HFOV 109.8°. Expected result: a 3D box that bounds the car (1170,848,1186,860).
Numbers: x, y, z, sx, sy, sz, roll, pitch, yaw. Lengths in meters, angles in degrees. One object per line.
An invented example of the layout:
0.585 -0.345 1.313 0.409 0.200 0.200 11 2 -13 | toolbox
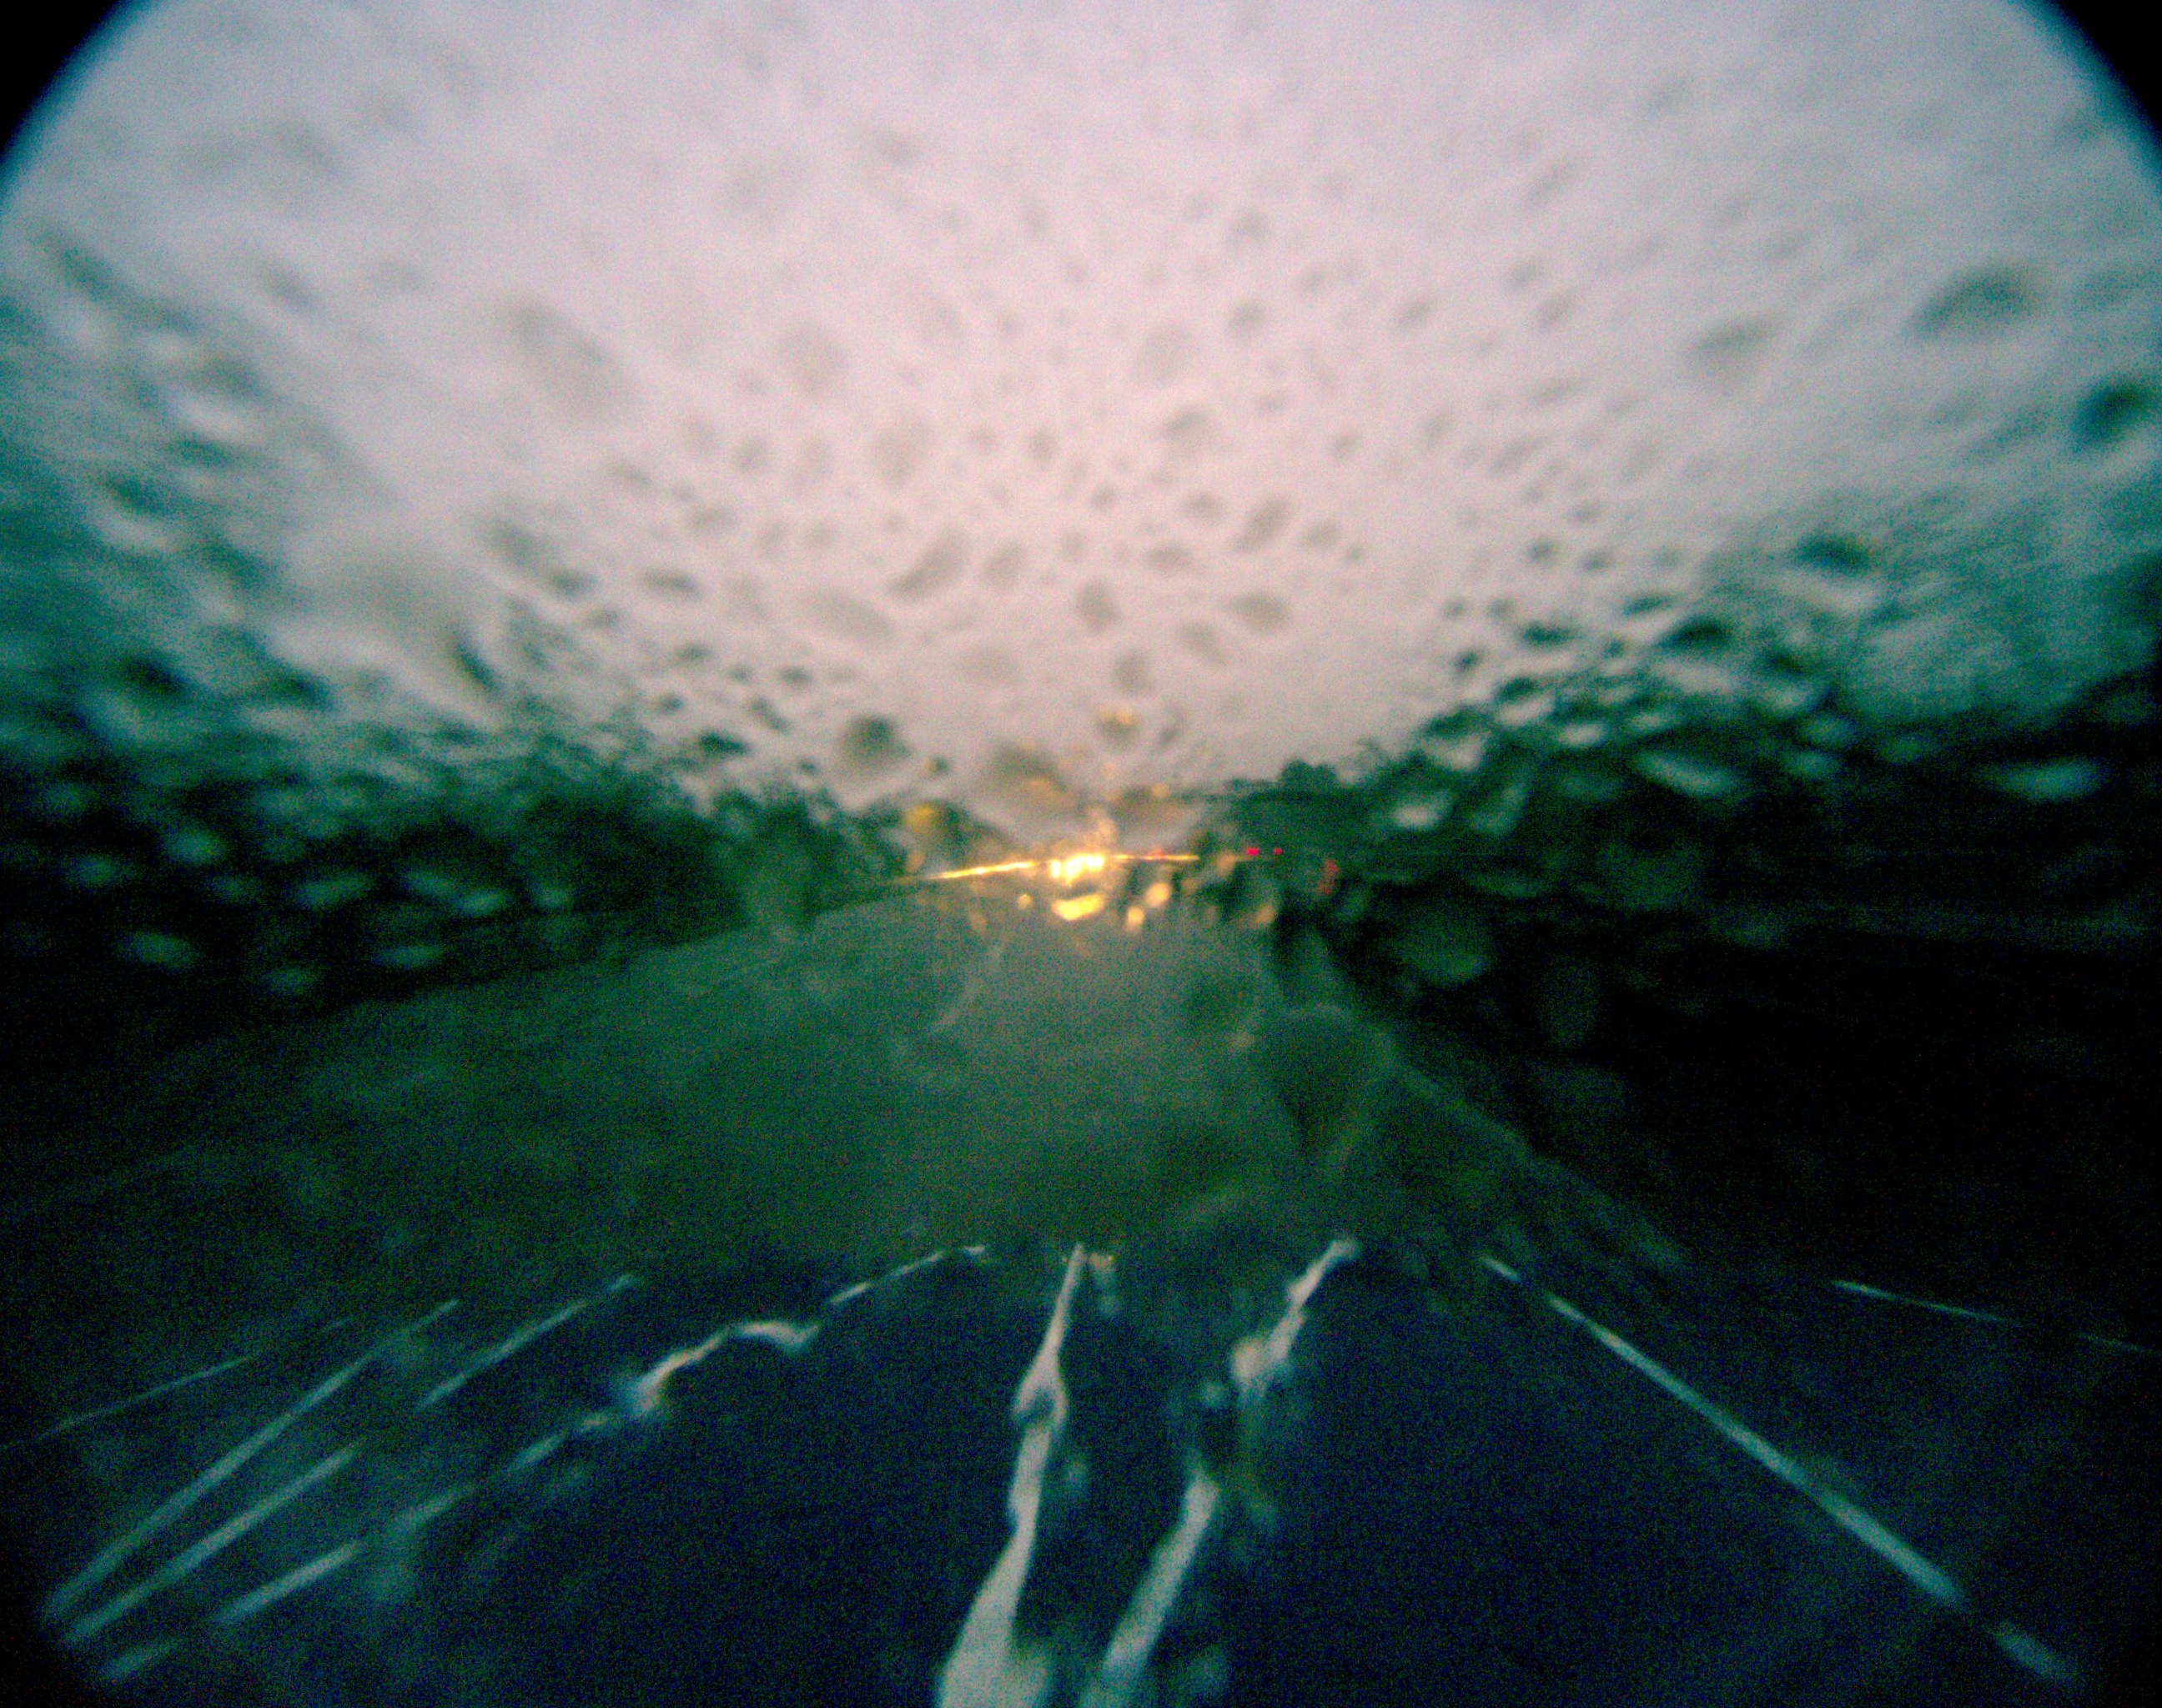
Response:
14.007 -0.039 109.689 1.784 1.598 4.000 -2 1 2 | car

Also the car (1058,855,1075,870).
-1.695 0.967 90.388 1.748 1.643 4.000 -2 1 1 | car

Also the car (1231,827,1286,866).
12.587 -0.546 54.318 2.482 2.508 6.268 -2 1 1 | car

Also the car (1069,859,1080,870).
-1.153 1.858 133.729 1.828 1.892 4.001 -3 -1 1 | car
